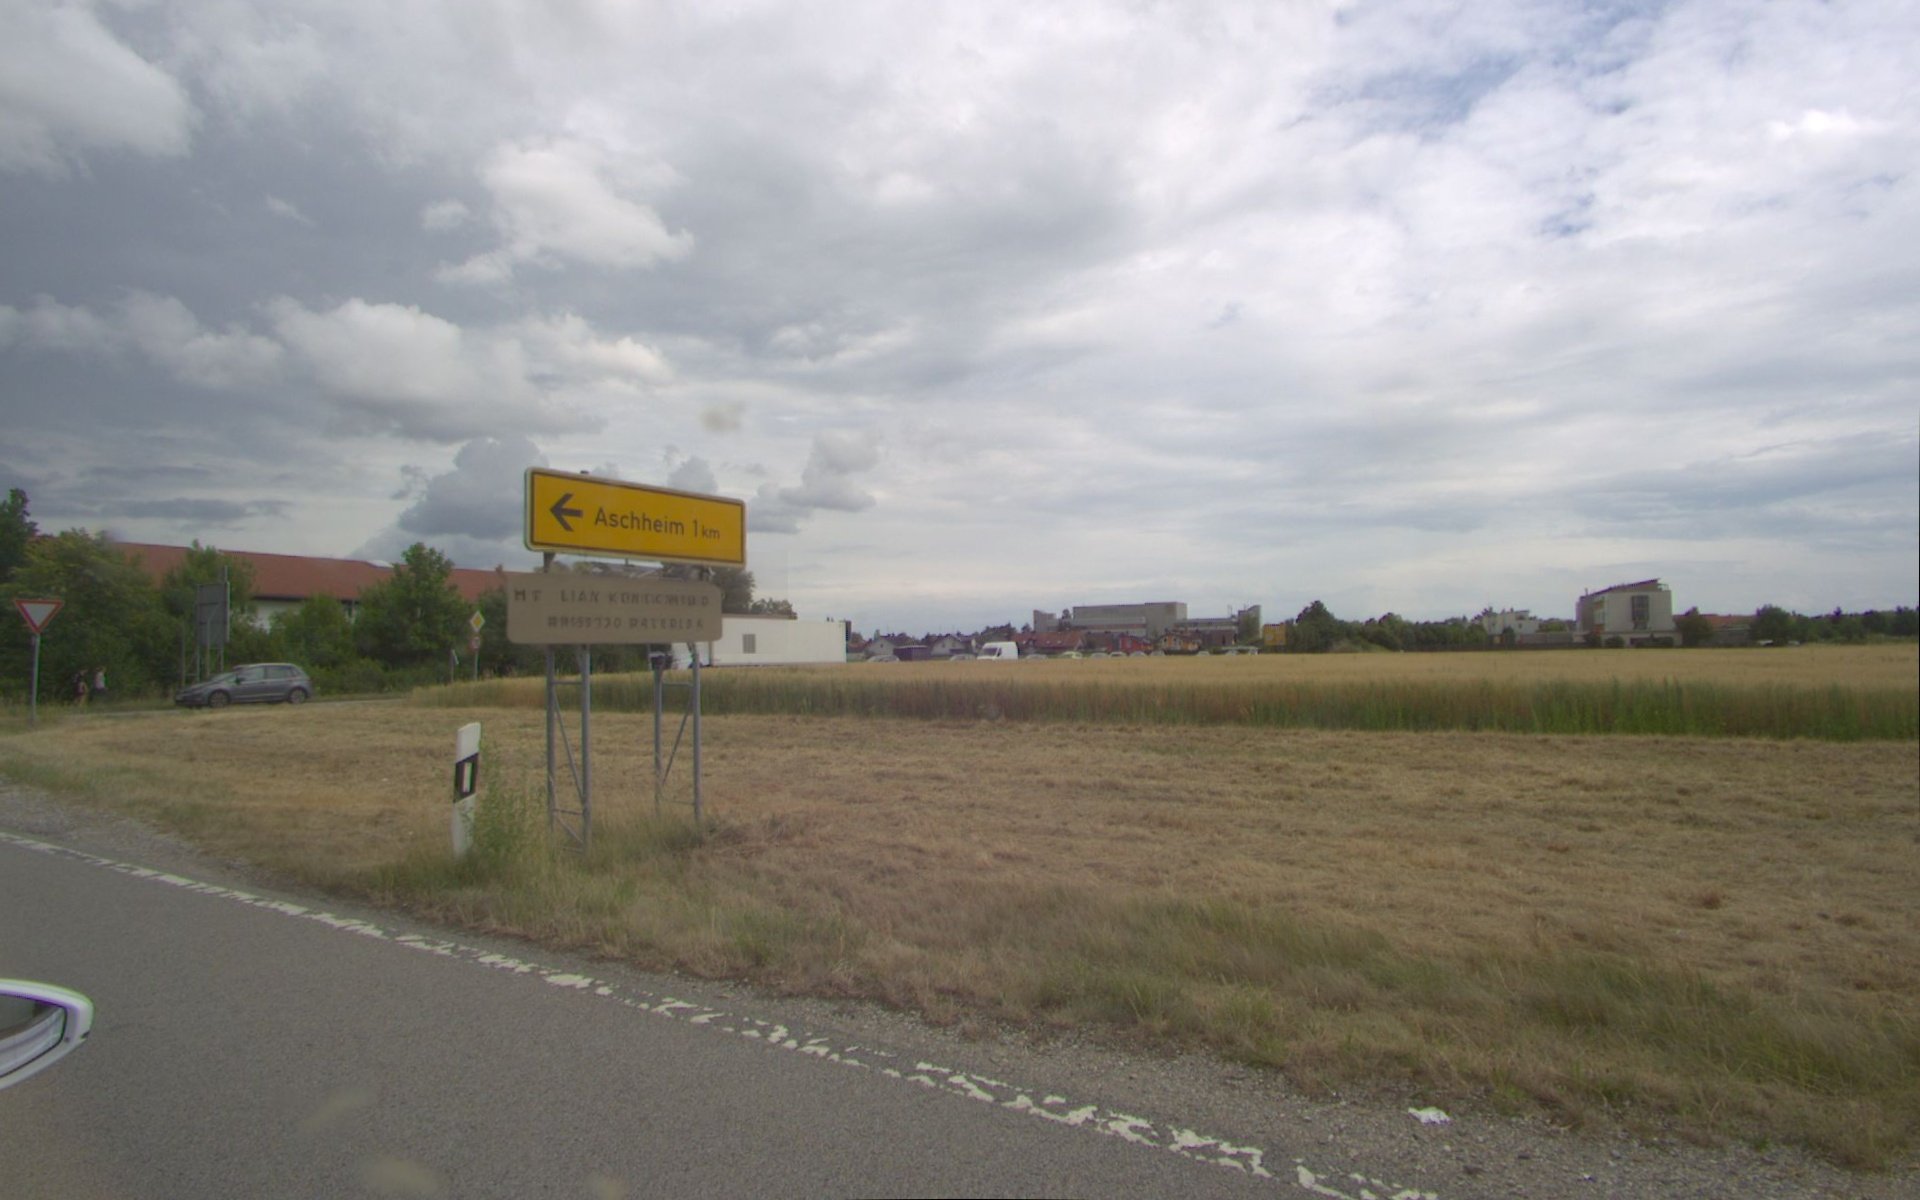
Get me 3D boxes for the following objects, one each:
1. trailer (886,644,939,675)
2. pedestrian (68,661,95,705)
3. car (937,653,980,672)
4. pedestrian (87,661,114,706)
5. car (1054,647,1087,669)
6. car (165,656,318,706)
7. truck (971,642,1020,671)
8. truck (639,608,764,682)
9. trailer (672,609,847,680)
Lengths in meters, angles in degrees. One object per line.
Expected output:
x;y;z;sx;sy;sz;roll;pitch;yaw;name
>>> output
-3.786;4.781;80.749;2.379;2.320;4.383;-3;-3;26;trailer
-34.574;3.249;39.423;0.521;1.704;0.626;-1;-1;24;pedestrian
-0.130;5.409;86.633;1.969;1.505;4.286;-2;-3;27;car
-33.462;3.254;38.997;0.521;1.704;0.626;-1;-1;24;pedestrian
10.626;5.552;95.828;1.967;1.914;3.988;-1;-1;24;car
-26.653;2.958;37.273;1.970;1.622;4.206;-1;-2;30;car
3.384;5.252;93.210;1.971;2.606;5.993;-3;-4;29;truck
-15.242;2.723;59.674;3.082;4.063;7.282;-3;-4;28;truck
-12.527;2.943;64.870;3.082;4.062;13.839;-3;-4;28;trailer
